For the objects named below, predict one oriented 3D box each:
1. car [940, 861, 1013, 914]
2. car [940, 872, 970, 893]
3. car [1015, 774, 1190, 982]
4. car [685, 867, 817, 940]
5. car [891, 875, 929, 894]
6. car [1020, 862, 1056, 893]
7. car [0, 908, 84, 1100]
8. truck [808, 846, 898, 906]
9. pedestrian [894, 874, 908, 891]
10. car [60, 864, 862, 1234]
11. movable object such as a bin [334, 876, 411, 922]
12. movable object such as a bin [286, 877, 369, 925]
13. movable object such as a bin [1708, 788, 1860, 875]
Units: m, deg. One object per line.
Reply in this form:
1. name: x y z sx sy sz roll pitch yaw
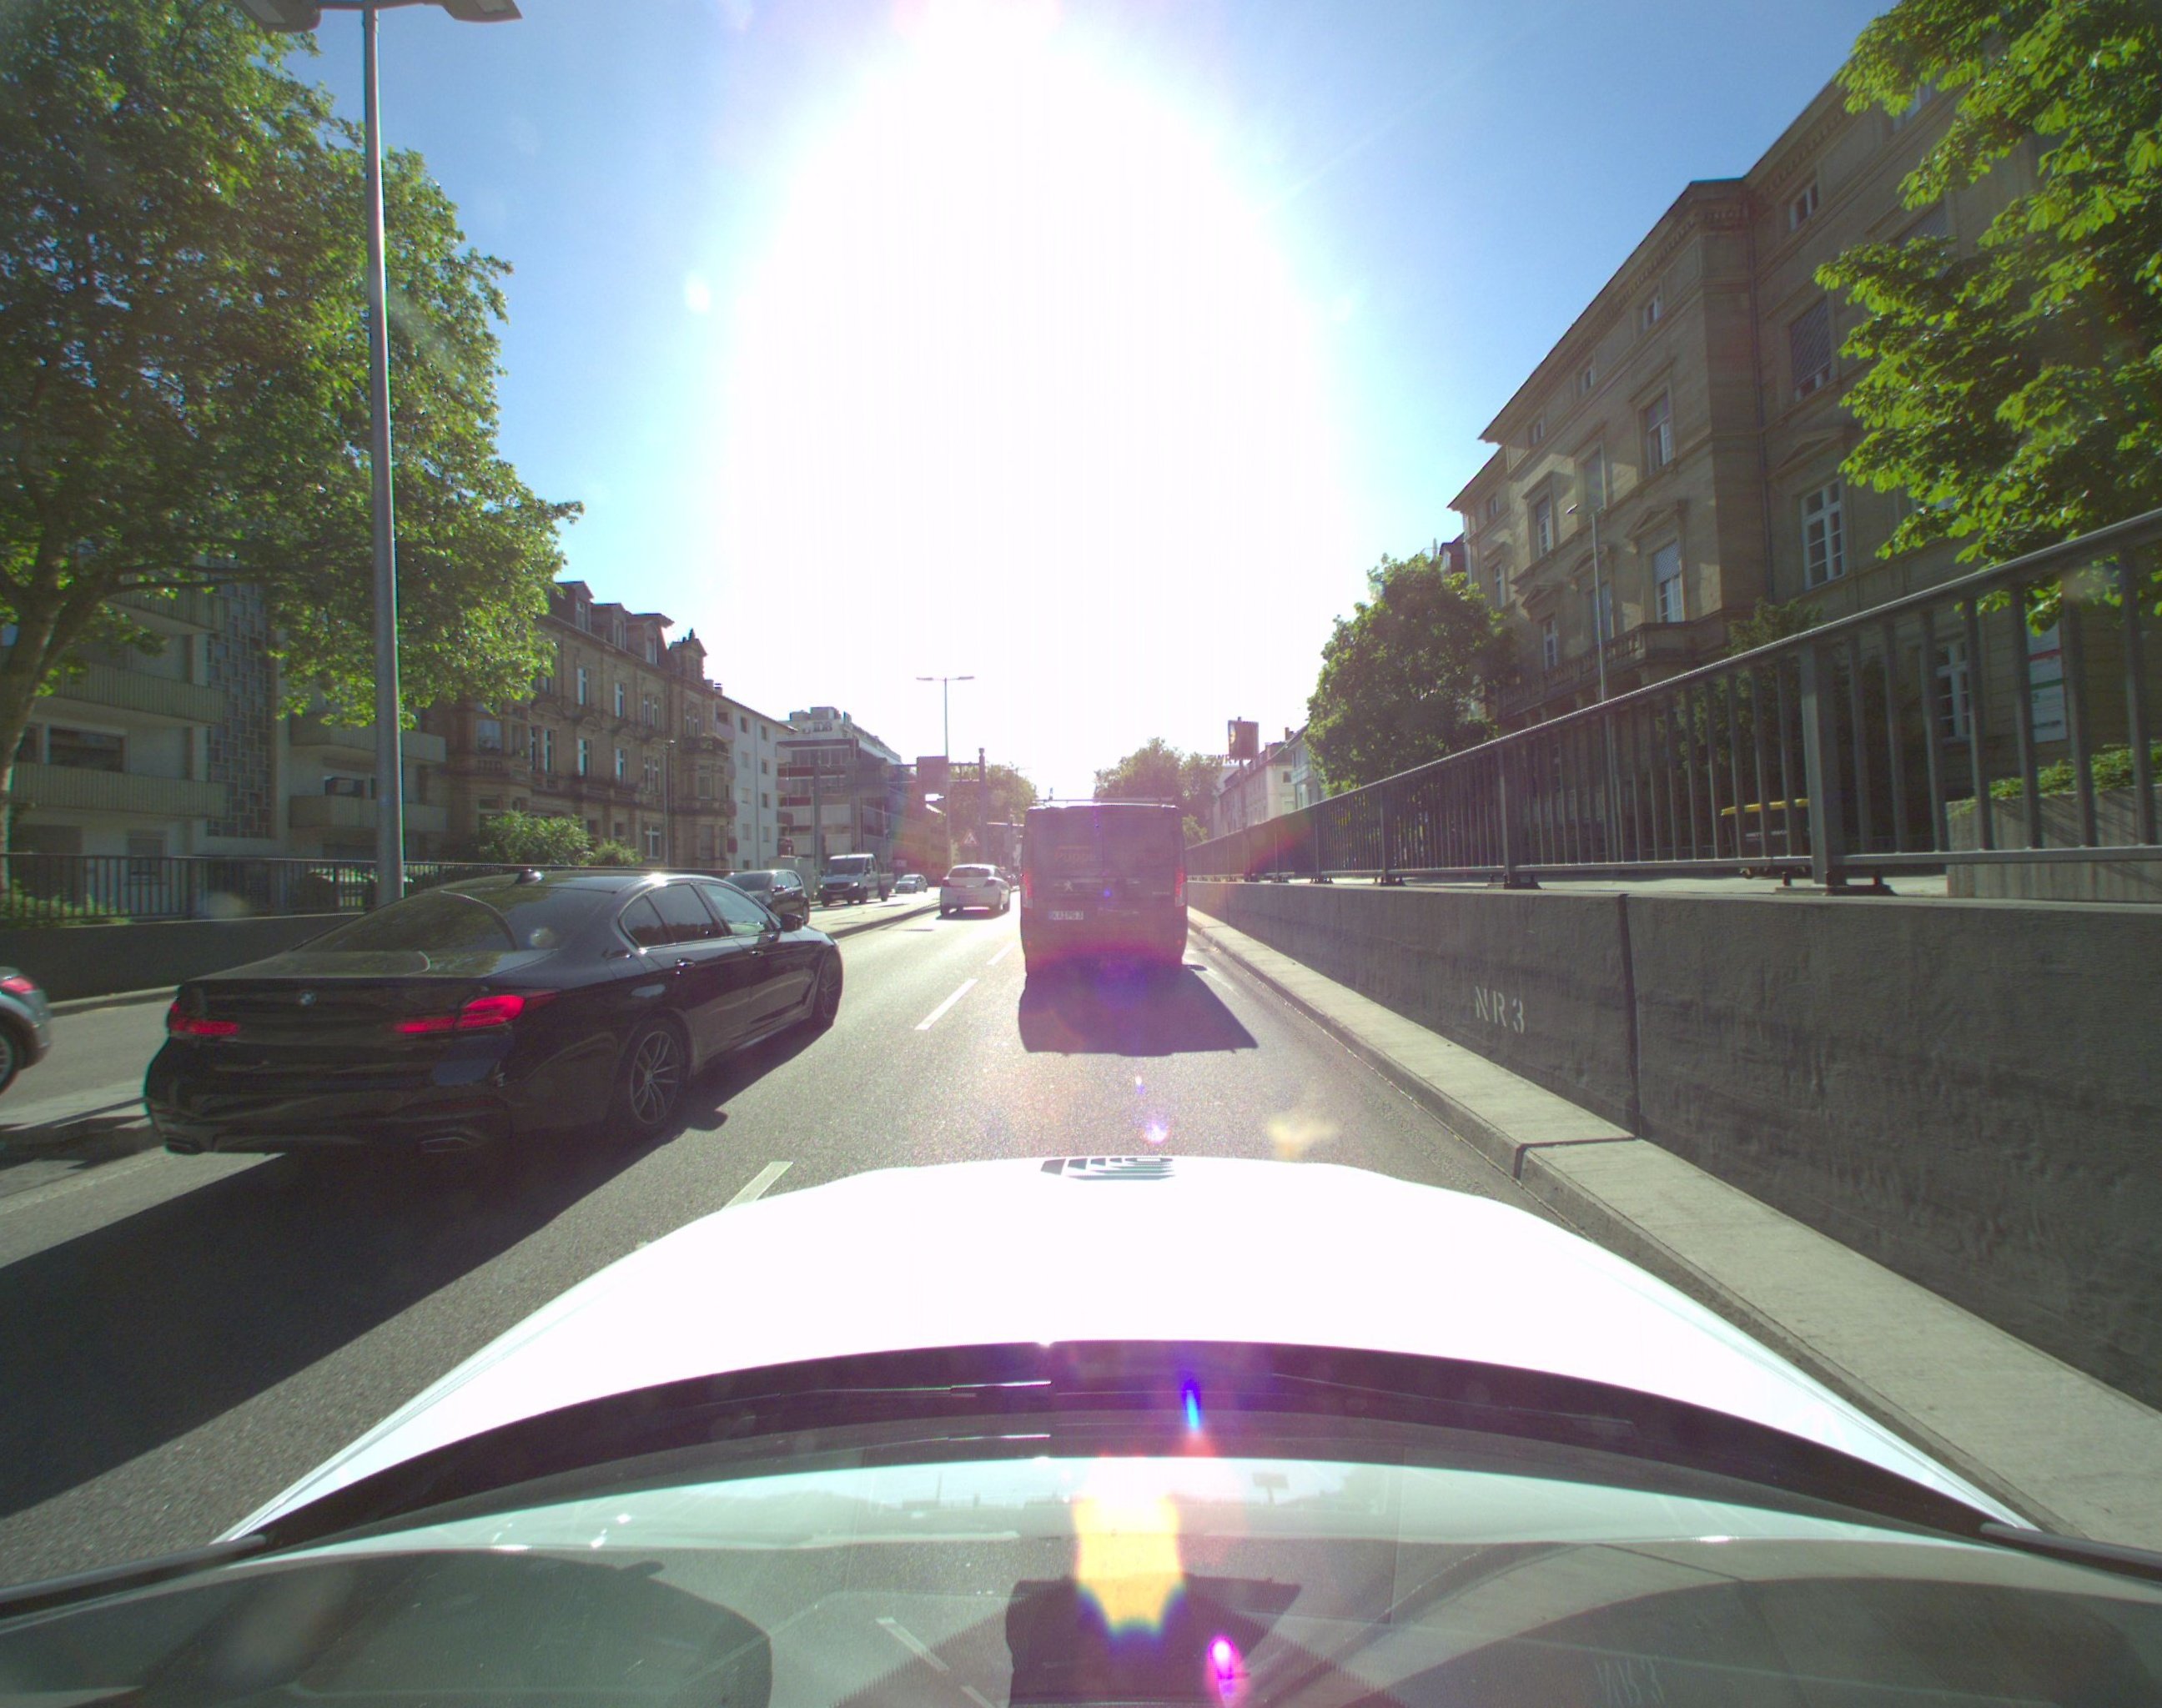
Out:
1. car: -3.028 0.946 24.344 1.613 1.403 3.852 0 0 1
2. car: -9.723 2.152 62.946 1.586 1.445 3.496 -4 -1 1
3. car: 0.299 0.314 11.580 2.023 2.402 3.973 -1 -1 1
4. car: -7.921 1.129 19.886 1.604 1.457 3.608 -5 -1 0
5. car: -13.345 2.387 63.845 1.666 1.410 3.626 -1 -1 10
6. car: -2.199 1.189 42.495 1.683 1.483 3.319 0 0 1
7. car: -8.294 1.082 4.138 1.533 1.300 3.928 -4 -1 1
8. truck: -10.694 1.020 38.766 2.220 2.528 6.132 -3 -1 2
9. pedestrian: -20.173 3.177 91.457 1.328 1.931 1.026 0 -1 1
10. car: -3.159 0.811 5.774 1.802 1.439 5.002 0 0 1
11. movable object such as a bin: -22.733 1.432 26.161 1.274 1.402 1.325 0 -1 1
12. movable object such as a bin: -22.910 1.410 24.793 1.274 1.402 1.301 0 -1 1
13. movable object such as a bin: 12.526 -0.376 14.555 1.449 1.324 1.402 -7 0 -16
